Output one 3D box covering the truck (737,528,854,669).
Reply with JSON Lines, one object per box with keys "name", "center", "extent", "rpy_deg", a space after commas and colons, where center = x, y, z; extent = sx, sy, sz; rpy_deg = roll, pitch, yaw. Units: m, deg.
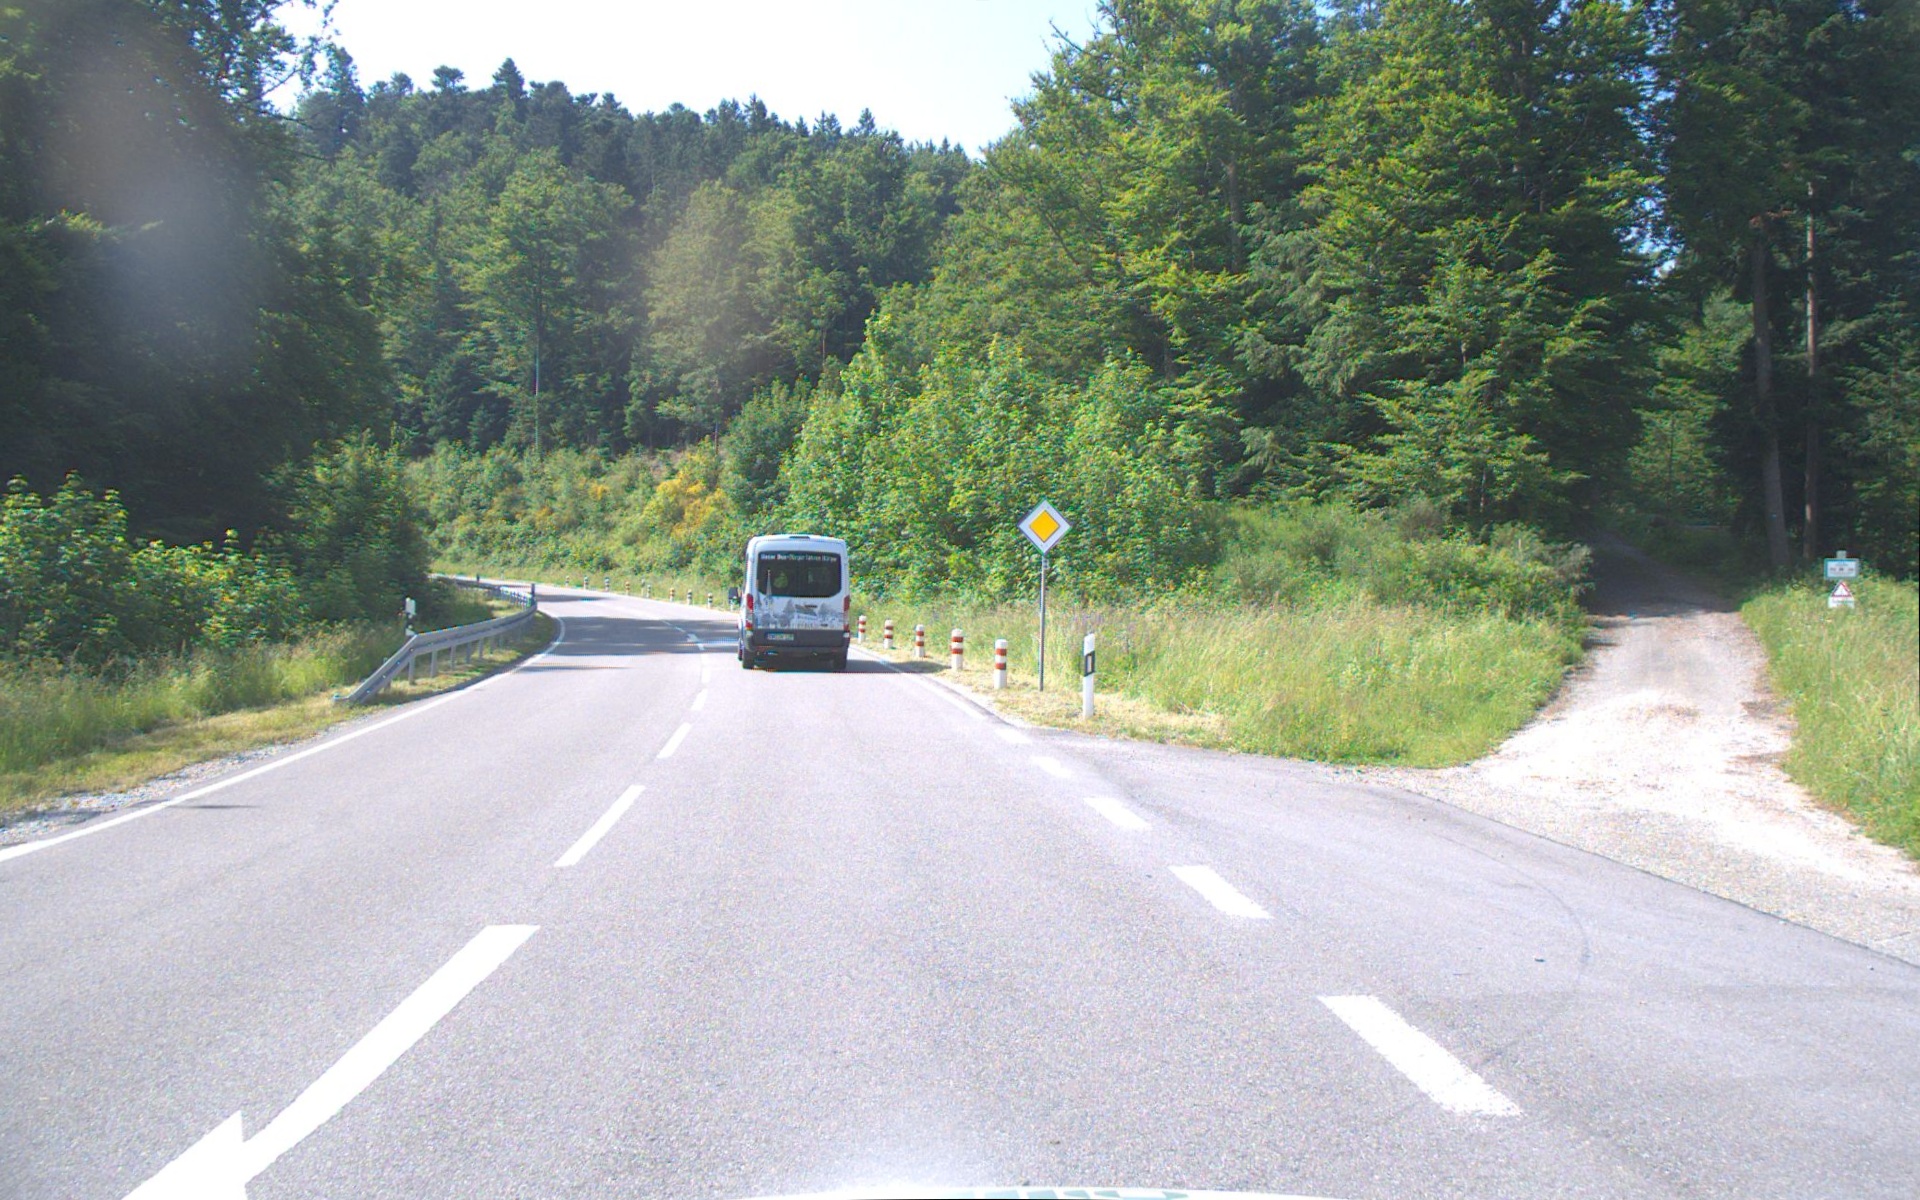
{"name": "truck", "center": [-3.346, -0.055, 32.719], "extent": [2.076, 2.542, 5.349], "rpy_deg": [0, 1, -8]}
